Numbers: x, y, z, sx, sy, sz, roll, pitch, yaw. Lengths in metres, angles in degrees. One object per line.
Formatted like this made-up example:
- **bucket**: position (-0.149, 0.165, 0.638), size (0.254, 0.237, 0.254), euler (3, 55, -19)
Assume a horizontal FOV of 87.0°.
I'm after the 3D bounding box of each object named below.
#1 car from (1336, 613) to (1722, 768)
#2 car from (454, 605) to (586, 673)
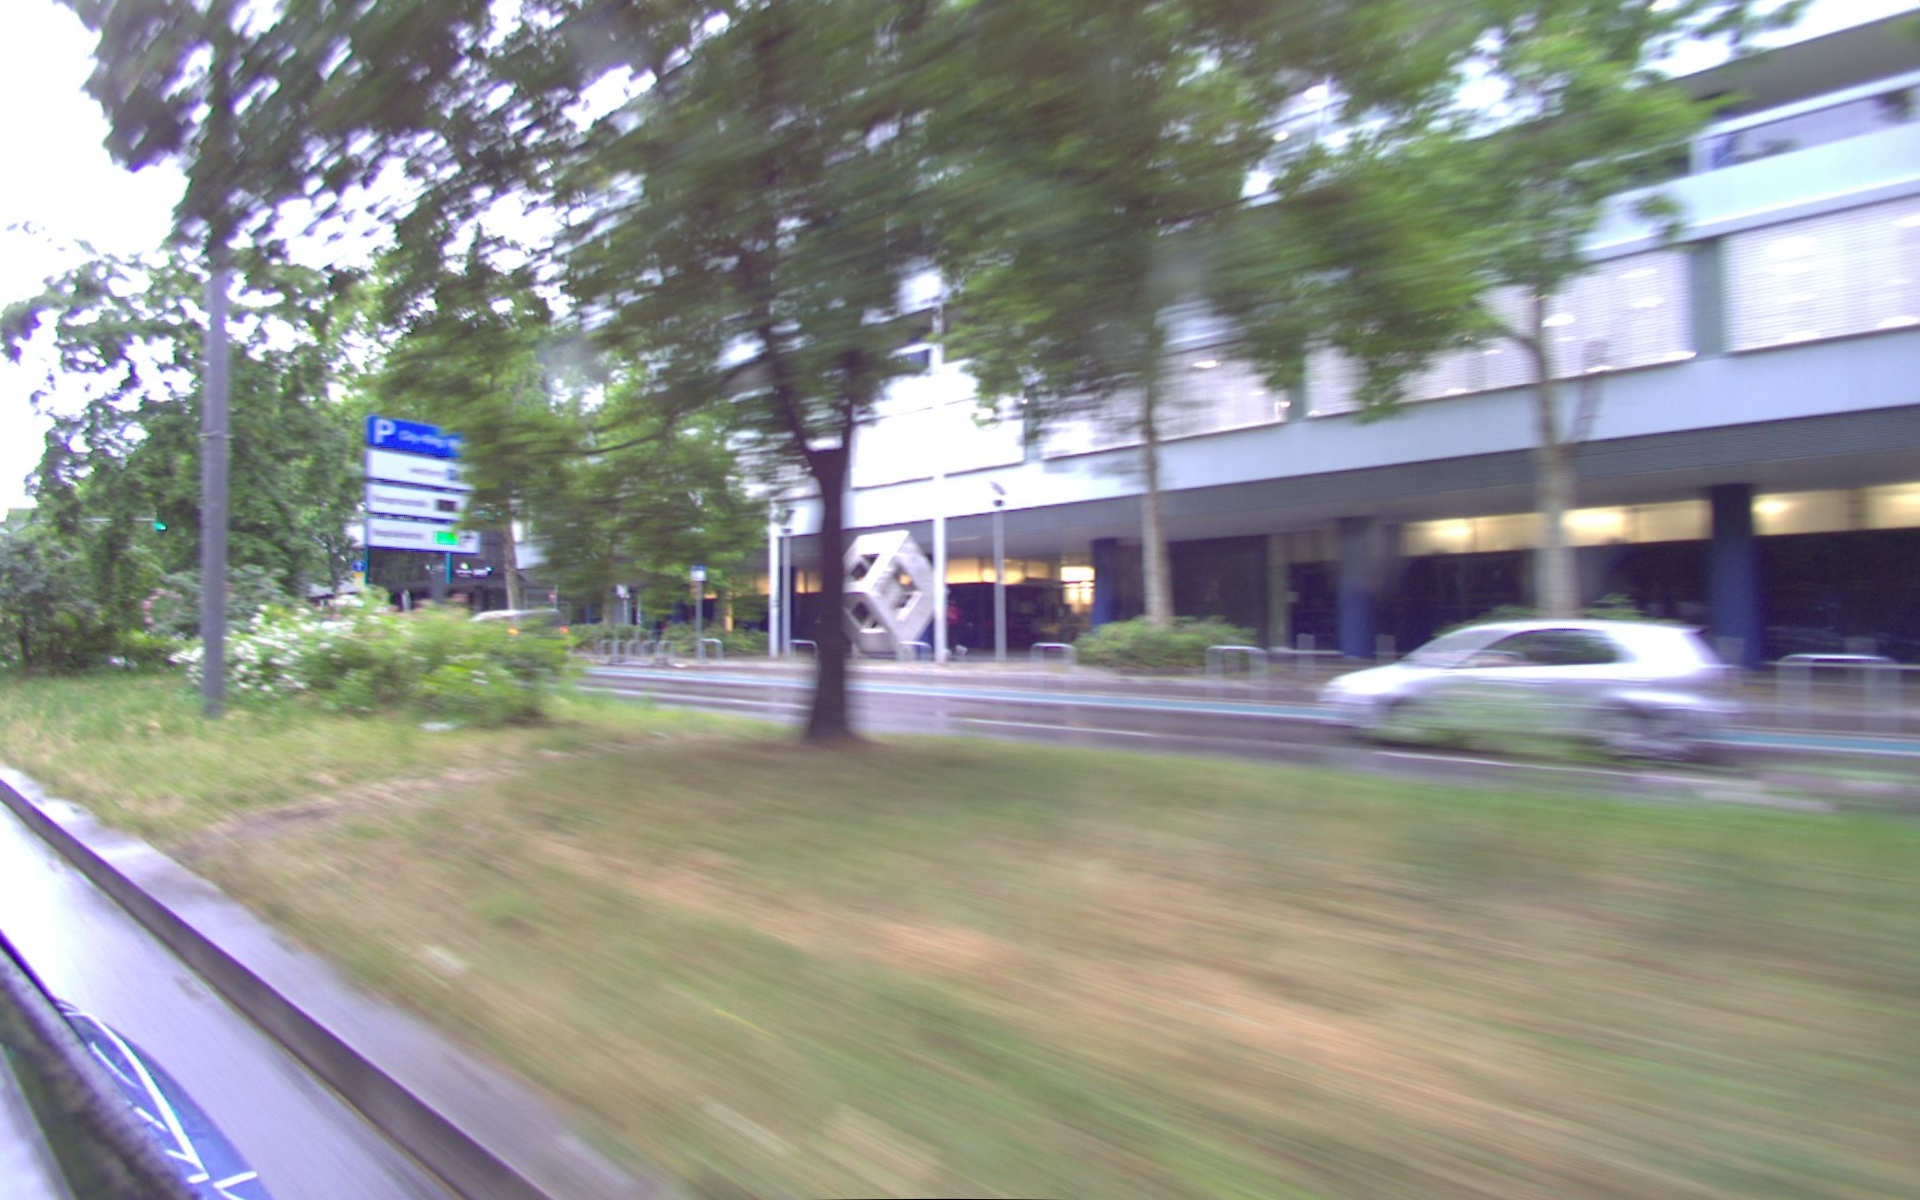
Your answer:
- **car**: position (6.185, 0.917, 11.272), size (3.560, 1.474, 1.148), euler (-2, -3, 43)
- **car**: position (-12.749, 1.118, 29.225), size (4.282, 1.815, 1.971), euler (-2, -3, 43)
